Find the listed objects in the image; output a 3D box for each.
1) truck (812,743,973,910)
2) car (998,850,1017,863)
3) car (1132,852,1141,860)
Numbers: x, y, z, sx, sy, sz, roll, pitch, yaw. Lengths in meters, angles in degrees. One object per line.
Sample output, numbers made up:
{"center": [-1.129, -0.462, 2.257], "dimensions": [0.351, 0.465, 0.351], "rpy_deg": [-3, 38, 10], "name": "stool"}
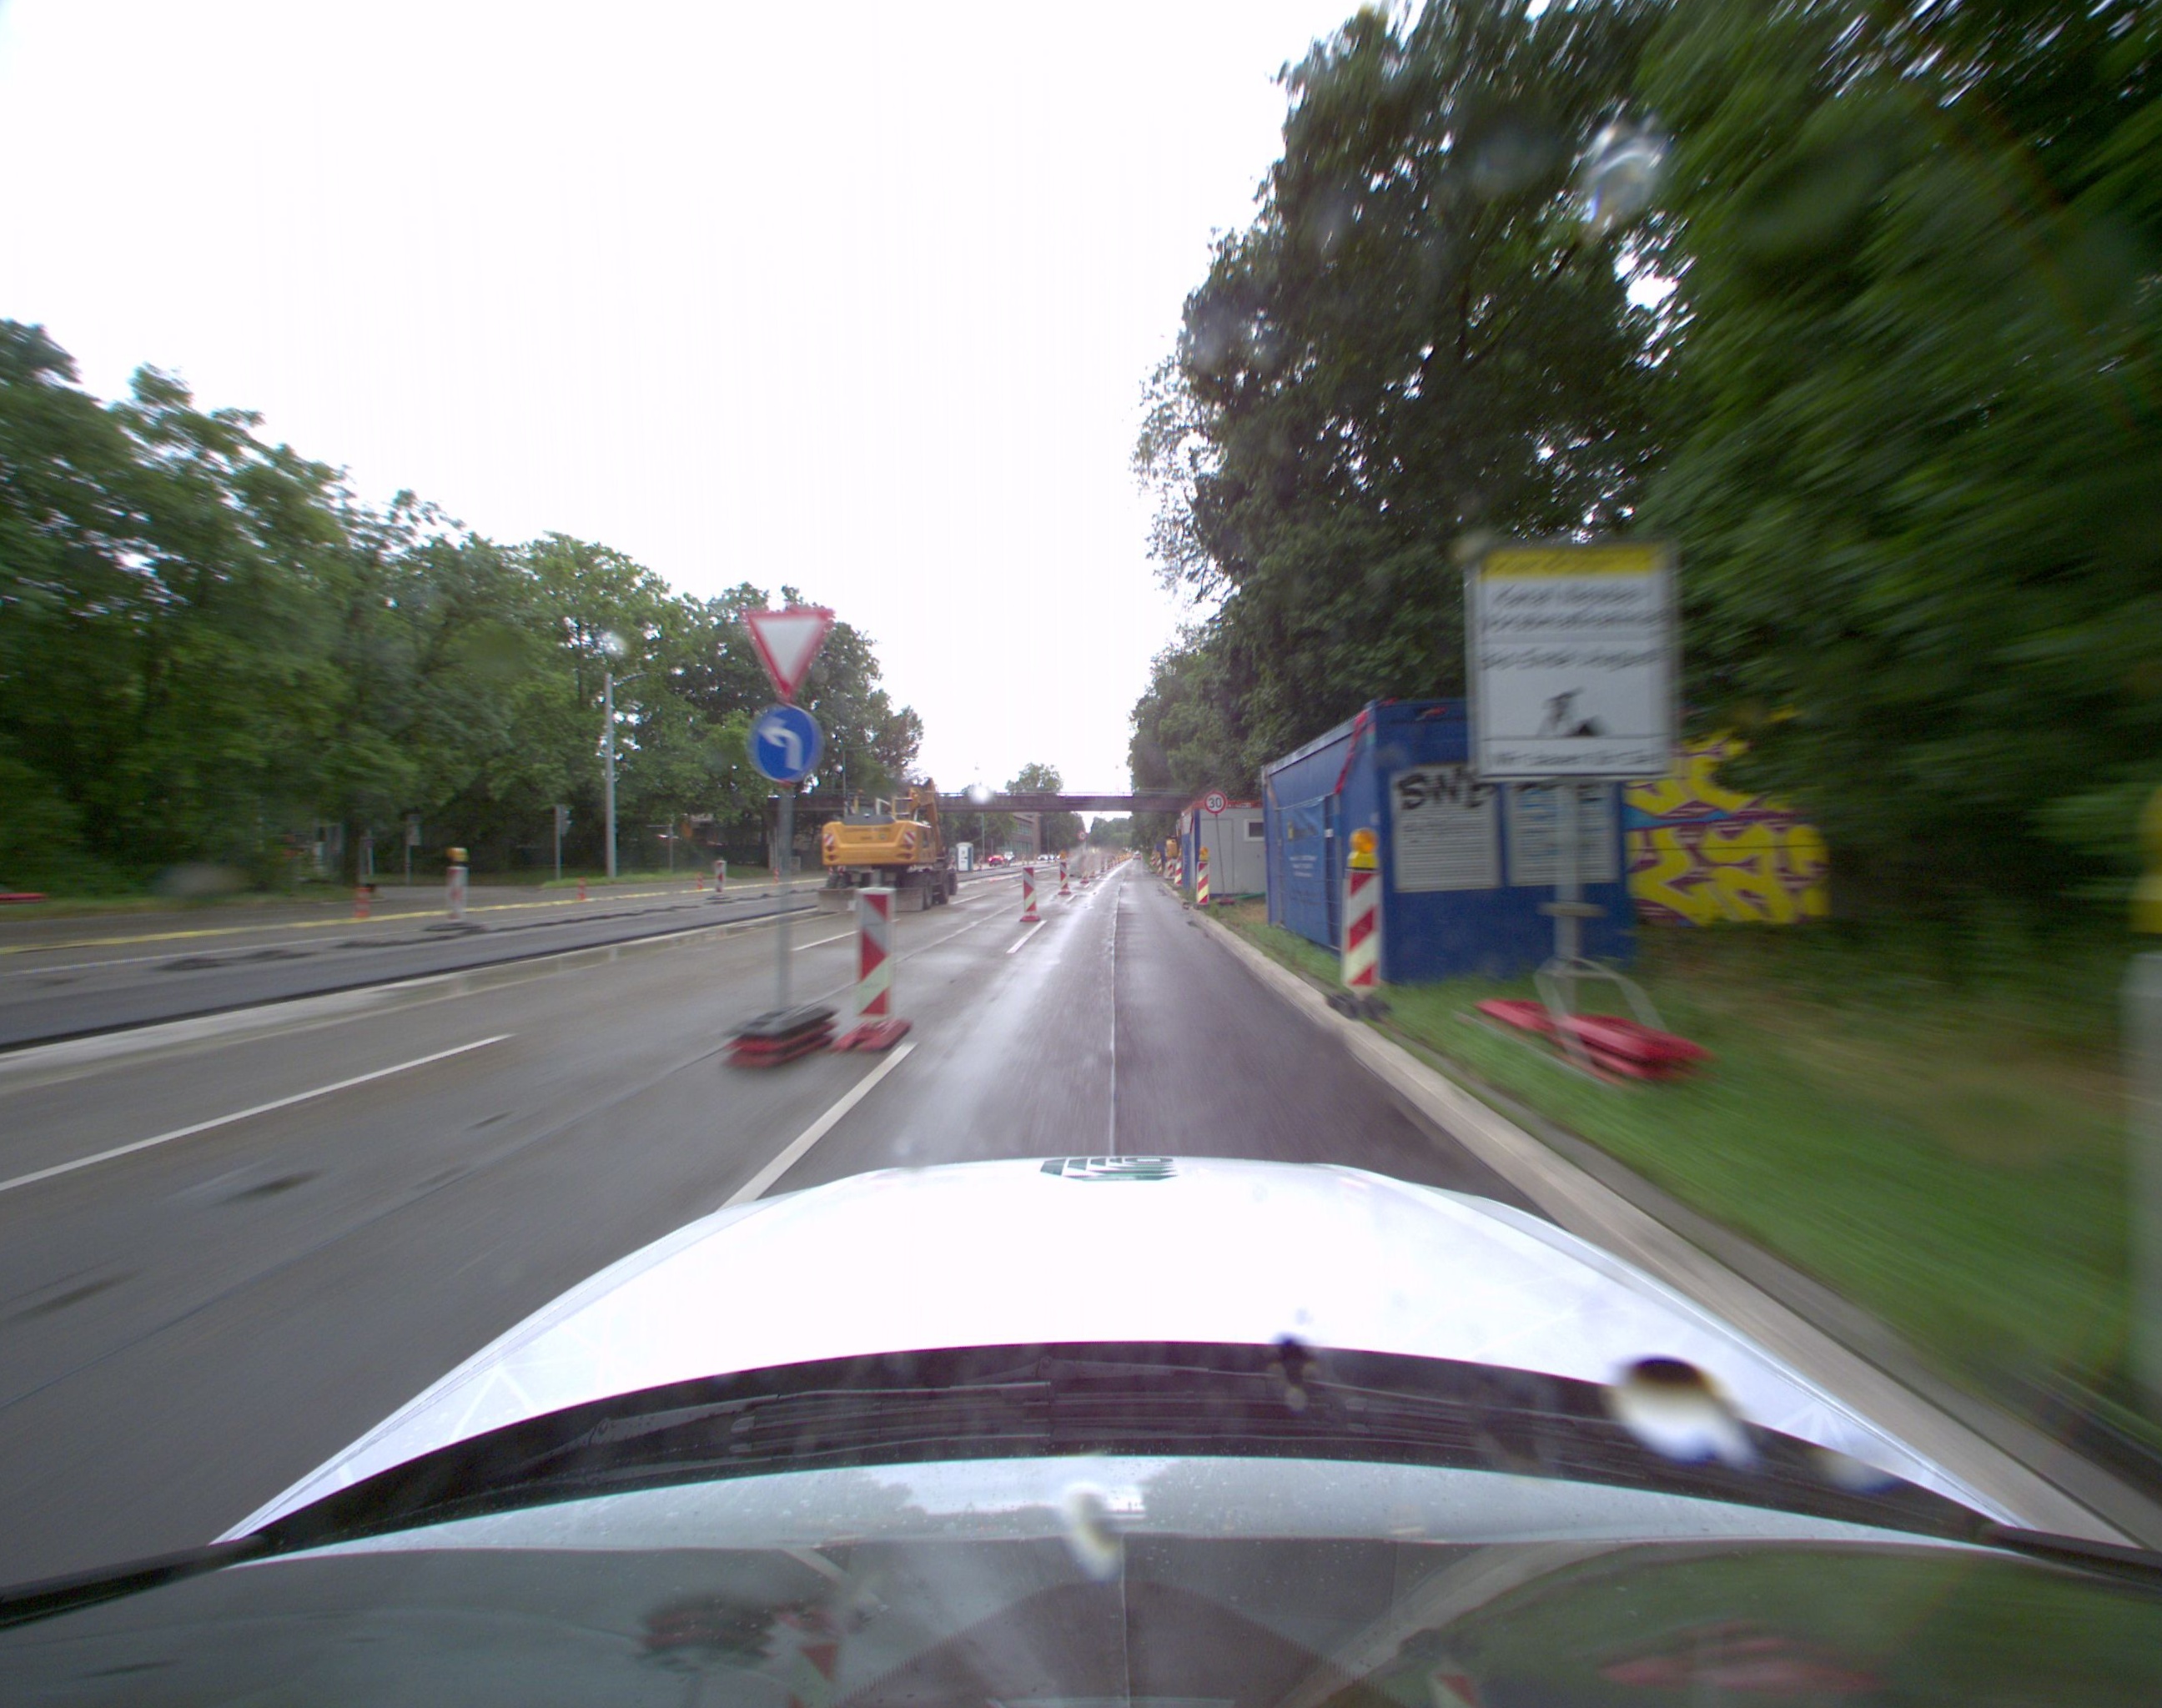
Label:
{"center": [-5.534, -0.714, 26.241], "dimensions": [2.889, 4.259, 10.750], "rpy_deg": [0, 0, -1], "name": "truck"}
{"center": [-10.785, 0.403, 120.122], "dimensions": [1.962, 1.806, 4.613], "rpy_deg": [-2, 0, 5], "name": "car"}
{"center": [12.641, 0.465, 184.314], "dimensions": [1.985, 1.640, 4.004], "rpy_deg": [-2, 0, 4], "name": "car"}
